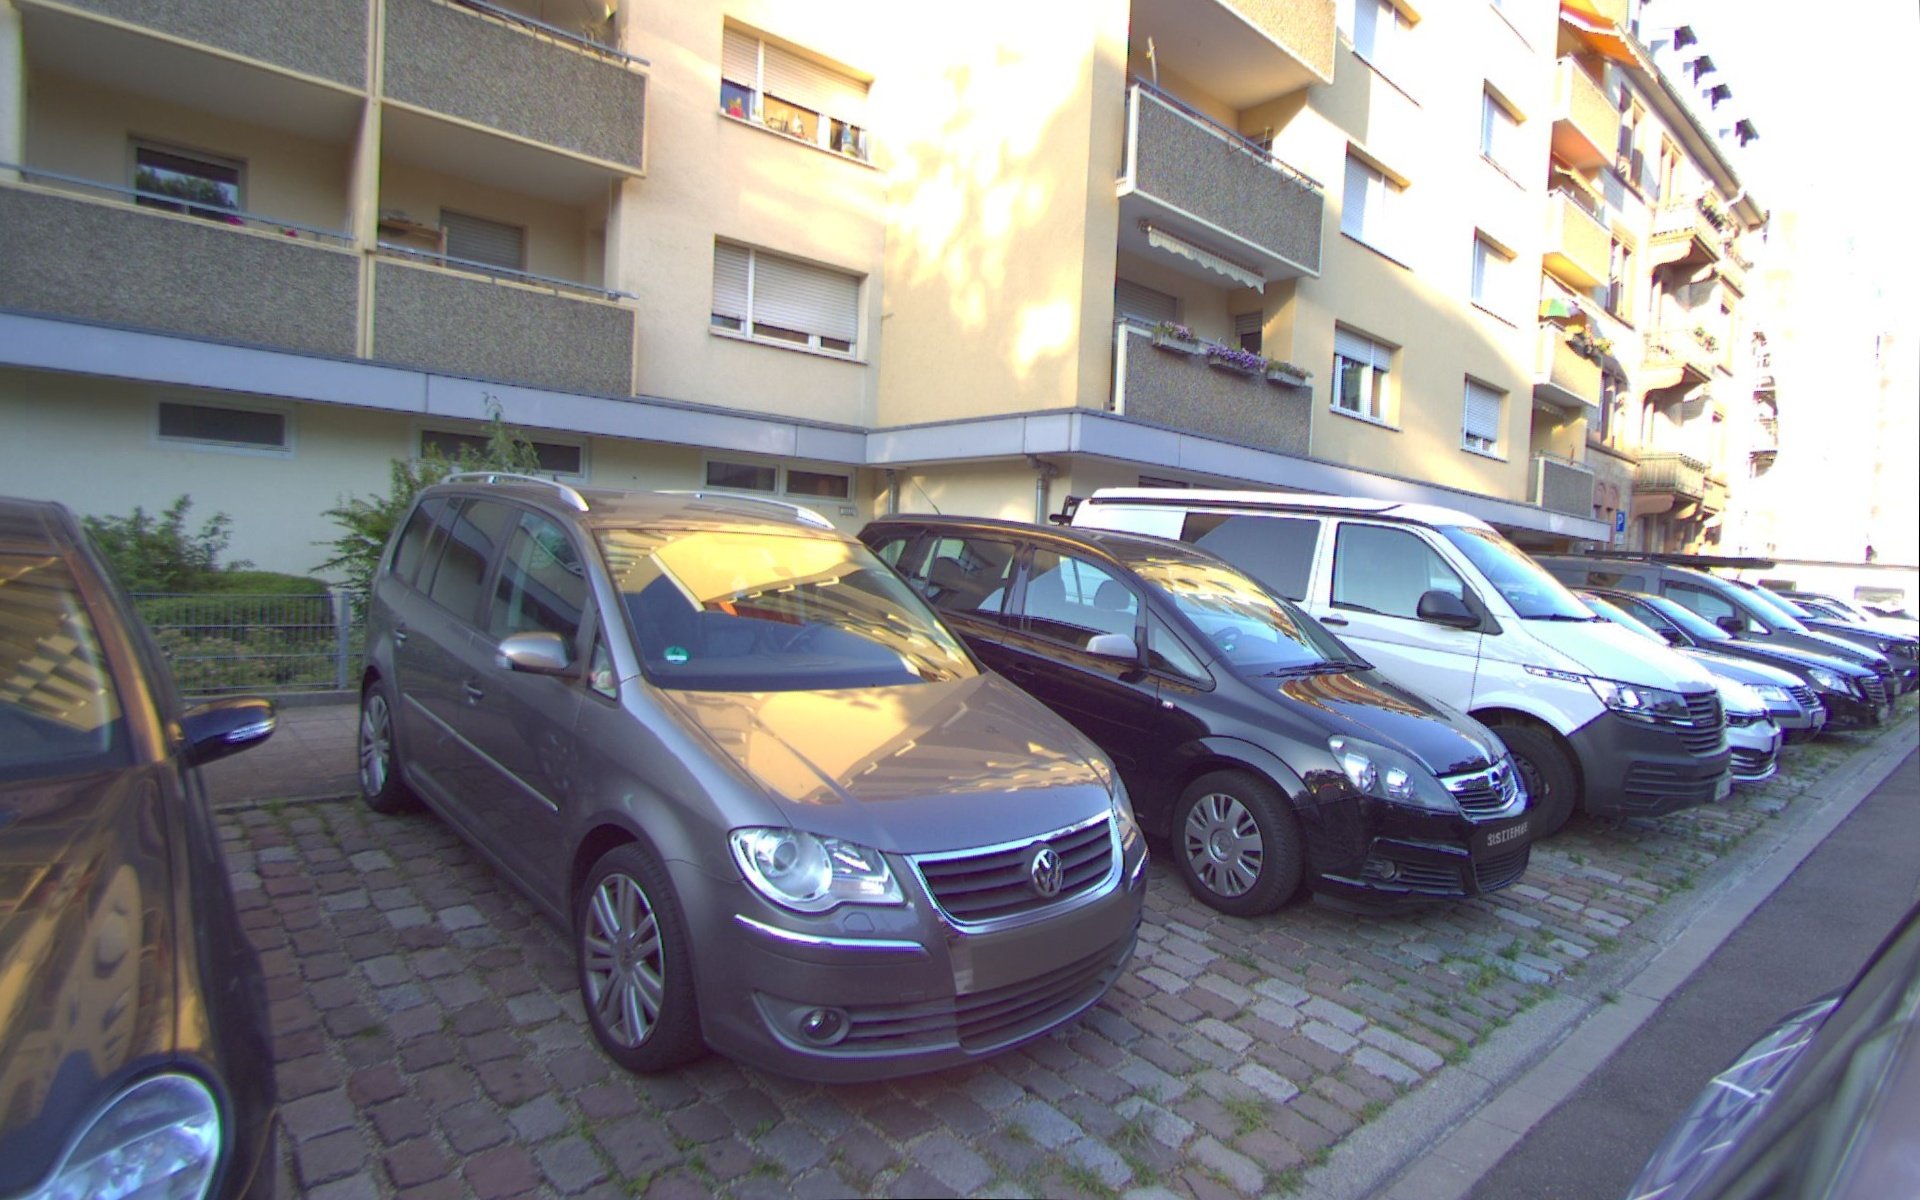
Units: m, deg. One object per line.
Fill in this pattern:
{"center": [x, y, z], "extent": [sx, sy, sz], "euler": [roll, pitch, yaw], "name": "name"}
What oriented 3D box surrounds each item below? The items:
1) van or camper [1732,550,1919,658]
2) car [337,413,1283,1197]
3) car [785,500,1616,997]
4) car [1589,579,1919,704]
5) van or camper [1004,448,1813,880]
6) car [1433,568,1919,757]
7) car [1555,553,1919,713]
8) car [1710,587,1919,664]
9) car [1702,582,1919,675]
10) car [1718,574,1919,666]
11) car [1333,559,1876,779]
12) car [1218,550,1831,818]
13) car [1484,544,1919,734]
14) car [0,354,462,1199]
{"center": [24.477, 0.133, 26.724], "extent": [2.014, 2.534, 6.074], "euler": [1, 4, -41], "name": "van or camper"}
{"center": [-1.133, 0.204, 4.359], "extent": [1.815, 1.680, 4.412], "euler": [-2, 7, -43], "name": "car"}
{"center": [0.958, 0.369, 5.819], "extent": [1.752, 1.680, 4.334], "euler": [-2, 7, -43], "name": "car"}
{"center": [13.586, 0.567, 17.278], "extent": [1.813, 1.572, 4.416], "euler": [-1, 5, -39], "name": "car"}
{"center": [2.930, 0.058, 7.752], "extent": [2.006, 2.192, 5.144], "euler": [0, 7, -43], "name": "van or camper"}
{"center": [8.269, 0.534, 12.018], "extent": [1.814, 1.581, 4.413], "euler": [-2, 5, -41], "name": "car"}
{"center": [11.838, 0.374, 15.258], "extent": [1.814, 1.885, 4.522], "euler": [1, 4, -41], "name": "car"}
{"center": [21.832, 0.572, 25.477], "extent": [1.813, 1.638, 4.414], "euler": [-2, 4, -40], "name": "car"}
{"center": [18.686, 0.551, 21.453], "extent": [1.813, 1.572, 4.415], "euler": [-1, 5, -40], "name": "car"}
{"center": [20.448, 0.445, 23.278], "extent": [1.812, 1.769, 4.418], "euler": [1, 3, -38], "name": "car"}
{"center": [6.470, 0.484, 10.620], "extent": [1.814, 1.611, 4.413], "euler": [-2, 5, -41], "name": "car"}
{"center": [4.755, 0.469, 9.117], "extent": [1.814, 1.650, 4.413], "euler": [-2, 5, -41], "name": "car"}
{"center": [10.016, 0.329, 13.843], "extent": [1.814, 2.004, 4.647], "euler": [-1, 5, -41], "name": "car"}
{"center": [-2.914, 0.327, 2.517], "extent": [1.815, 1.549, 4.411], "euler": [-2, 6, -43], "name": "car"}
